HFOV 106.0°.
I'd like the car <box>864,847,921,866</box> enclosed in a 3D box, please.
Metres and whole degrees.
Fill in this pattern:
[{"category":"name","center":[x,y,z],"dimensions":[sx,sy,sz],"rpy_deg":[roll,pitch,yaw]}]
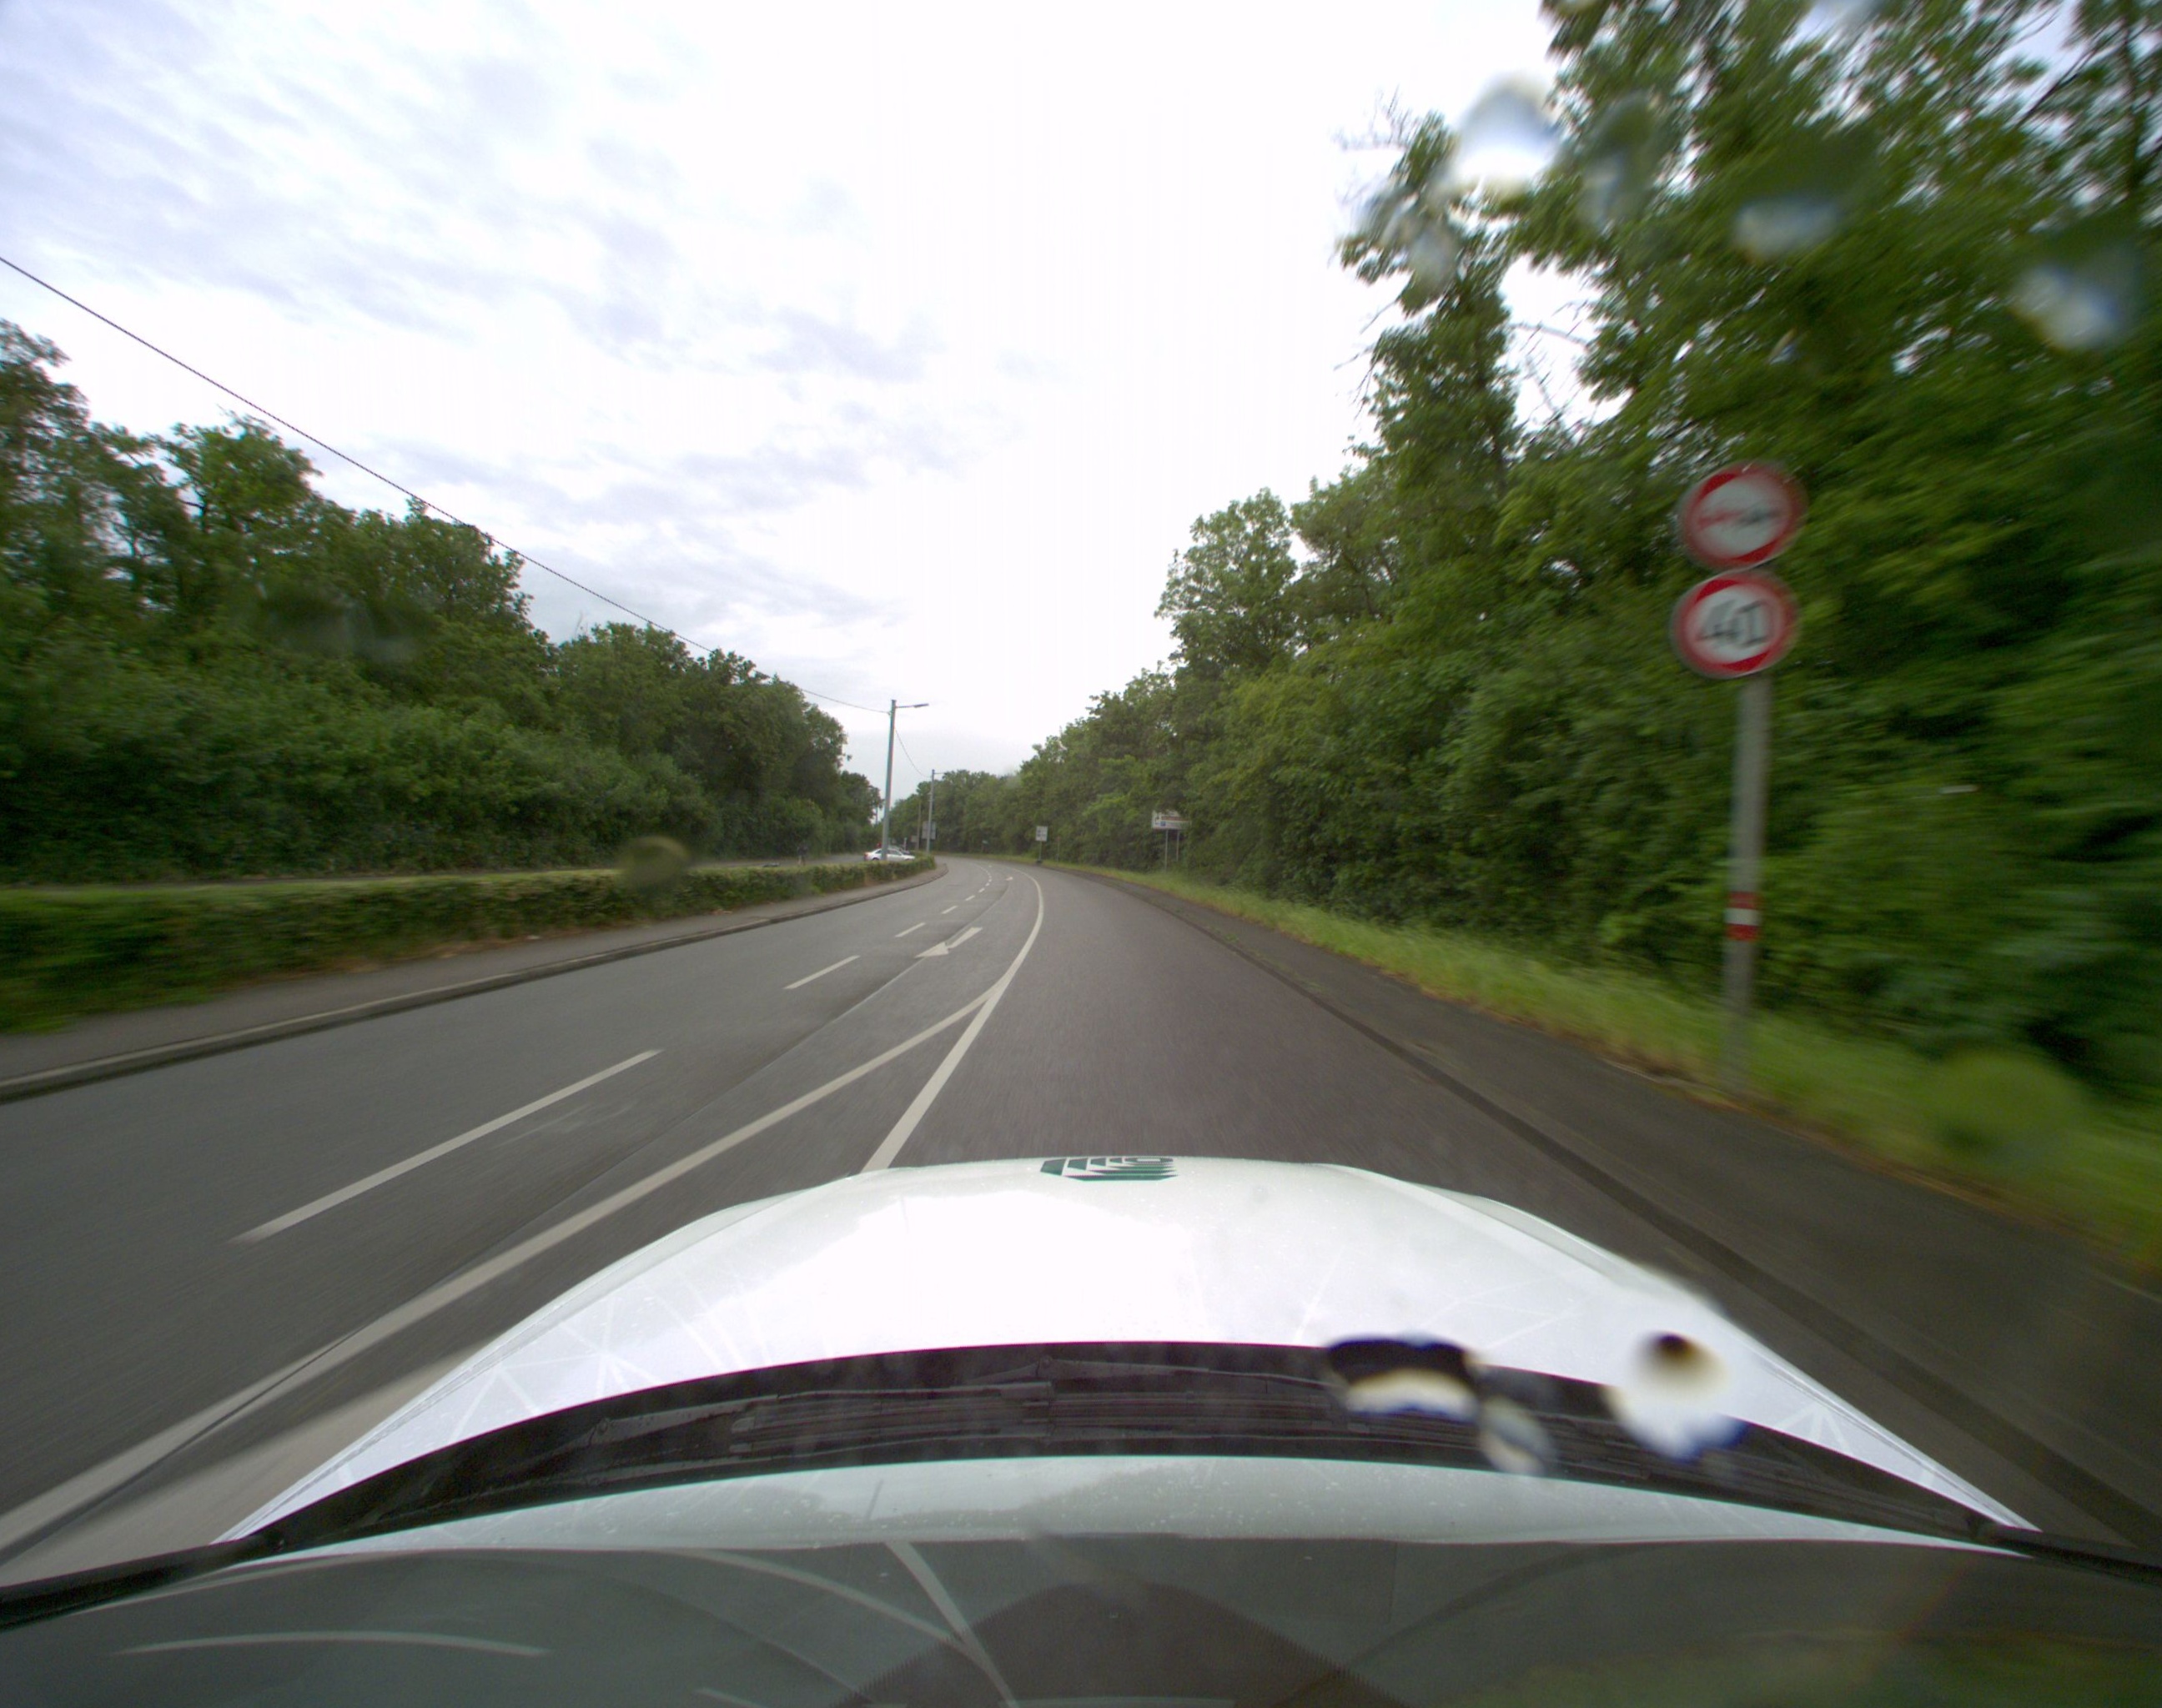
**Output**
[{"category":"car","center":[-15.828,0.192,68.366],"dimensions":[4.583,1.506,1.990],"rpy_deg":[1,0,-15]}]

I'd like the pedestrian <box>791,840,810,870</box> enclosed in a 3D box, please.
[{"category":"pedestrian","center":[-16.922,0.065,49.126],"dimensions":[0.816,1.797,1.133],"rpy_deg":[1,0,-5]}]

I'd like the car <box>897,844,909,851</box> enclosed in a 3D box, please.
[{"category":"car","center":[-39.867,-1.477,182.436],"dimensions":[1.941,1.498,4.289],"rpy_deg":[1,0,-20]}]

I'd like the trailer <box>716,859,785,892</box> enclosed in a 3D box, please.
[{"category":"trailer","center":[-10.977,0.695,27.154],"dimensions":[1.799,1.034,1.331],"rpy_deg":[1,0,-7]}]

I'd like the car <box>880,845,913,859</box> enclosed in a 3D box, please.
[{"category":"car","center":[-25.697,-0.288,113.470],"dimensions":[4.294,1.708,1.992],"rpy_deg":[2,0,-12]}]
